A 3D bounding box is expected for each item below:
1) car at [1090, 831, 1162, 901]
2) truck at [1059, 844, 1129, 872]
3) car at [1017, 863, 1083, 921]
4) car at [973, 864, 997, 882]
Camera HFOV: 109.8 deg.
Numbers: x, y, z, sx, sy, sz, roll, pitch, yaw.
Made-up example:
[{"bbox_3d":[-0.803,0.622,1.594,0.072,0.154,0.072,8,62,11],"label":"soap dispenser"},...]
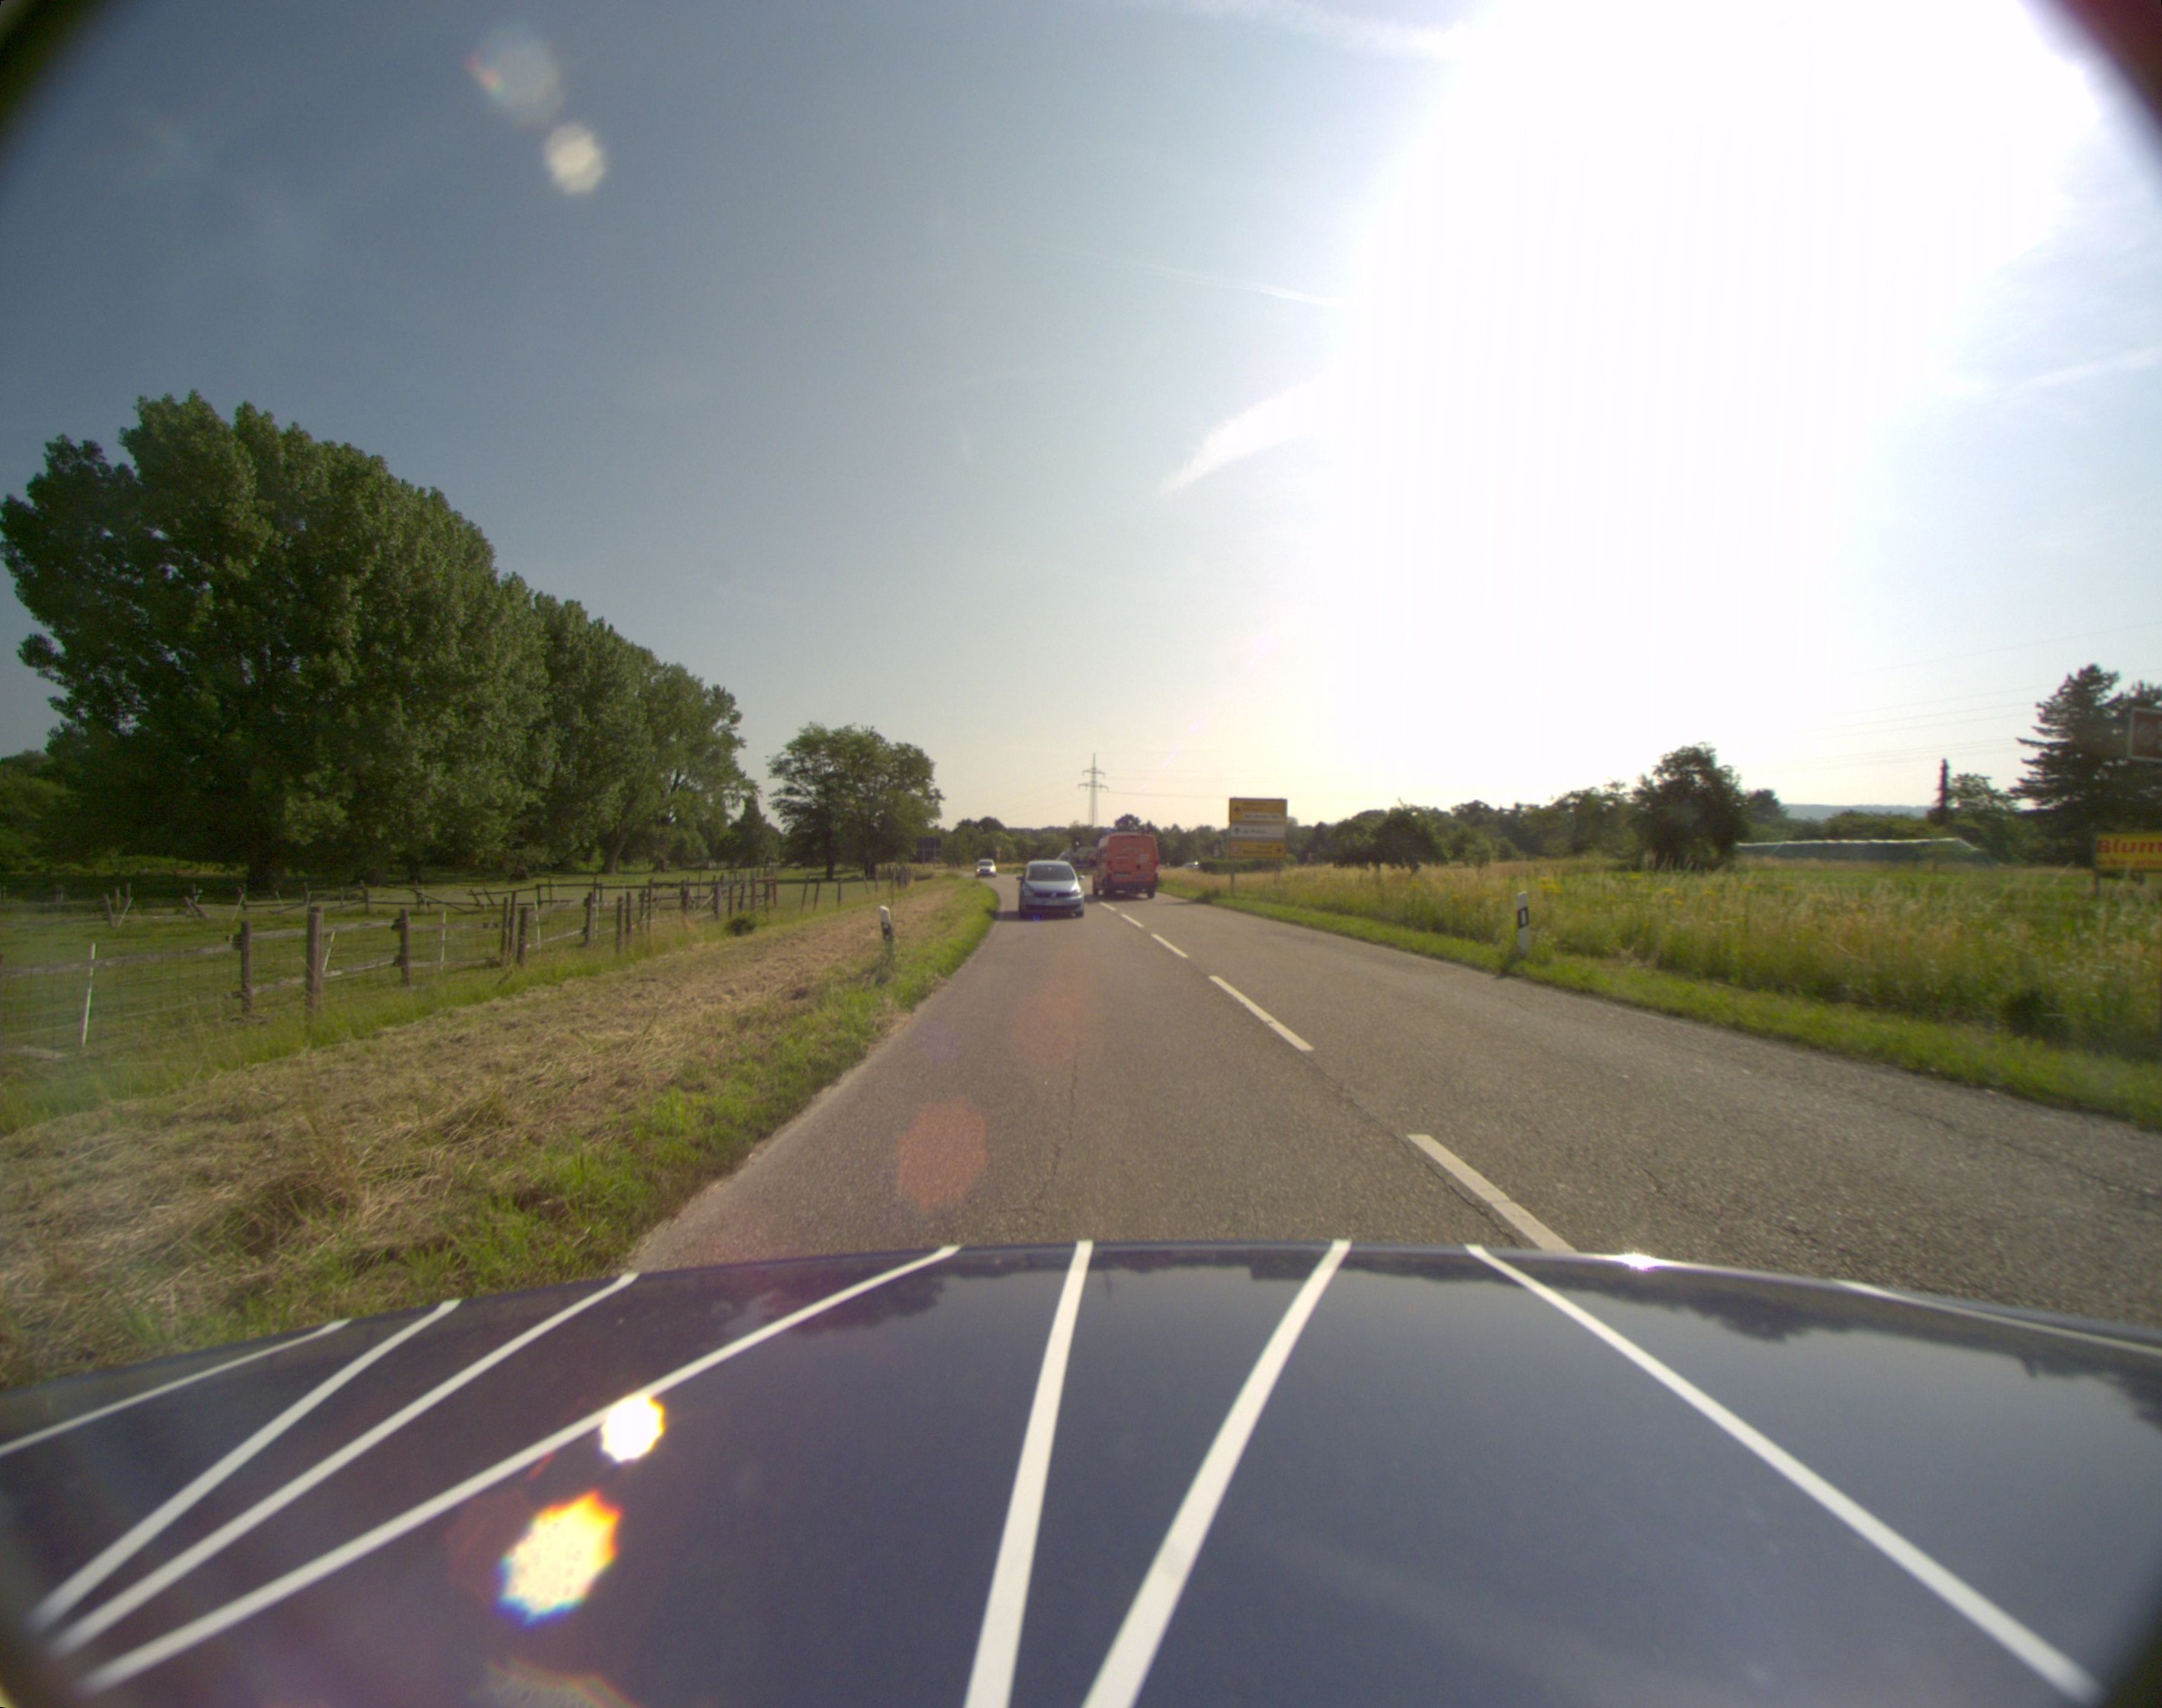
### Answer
[{"bbox_3d":[1.766,0.441,31.781,2.130,2.680,5.265,0,0,-6],"label":"car"},{"bbox_3d":[1.437,0.474,84.308,7.368,3.027,2.581,0,0,-13],"label":"truck"},{"bbox_3d":[-0.900,1.015,22.057,1.718,1.495,4.093,-1,0,-2],"label":"car"},{"bbox_3d":[-8.557,1.682,67.696,2.000,1.570,3.906,0,0,-8],"label":"car"}]
